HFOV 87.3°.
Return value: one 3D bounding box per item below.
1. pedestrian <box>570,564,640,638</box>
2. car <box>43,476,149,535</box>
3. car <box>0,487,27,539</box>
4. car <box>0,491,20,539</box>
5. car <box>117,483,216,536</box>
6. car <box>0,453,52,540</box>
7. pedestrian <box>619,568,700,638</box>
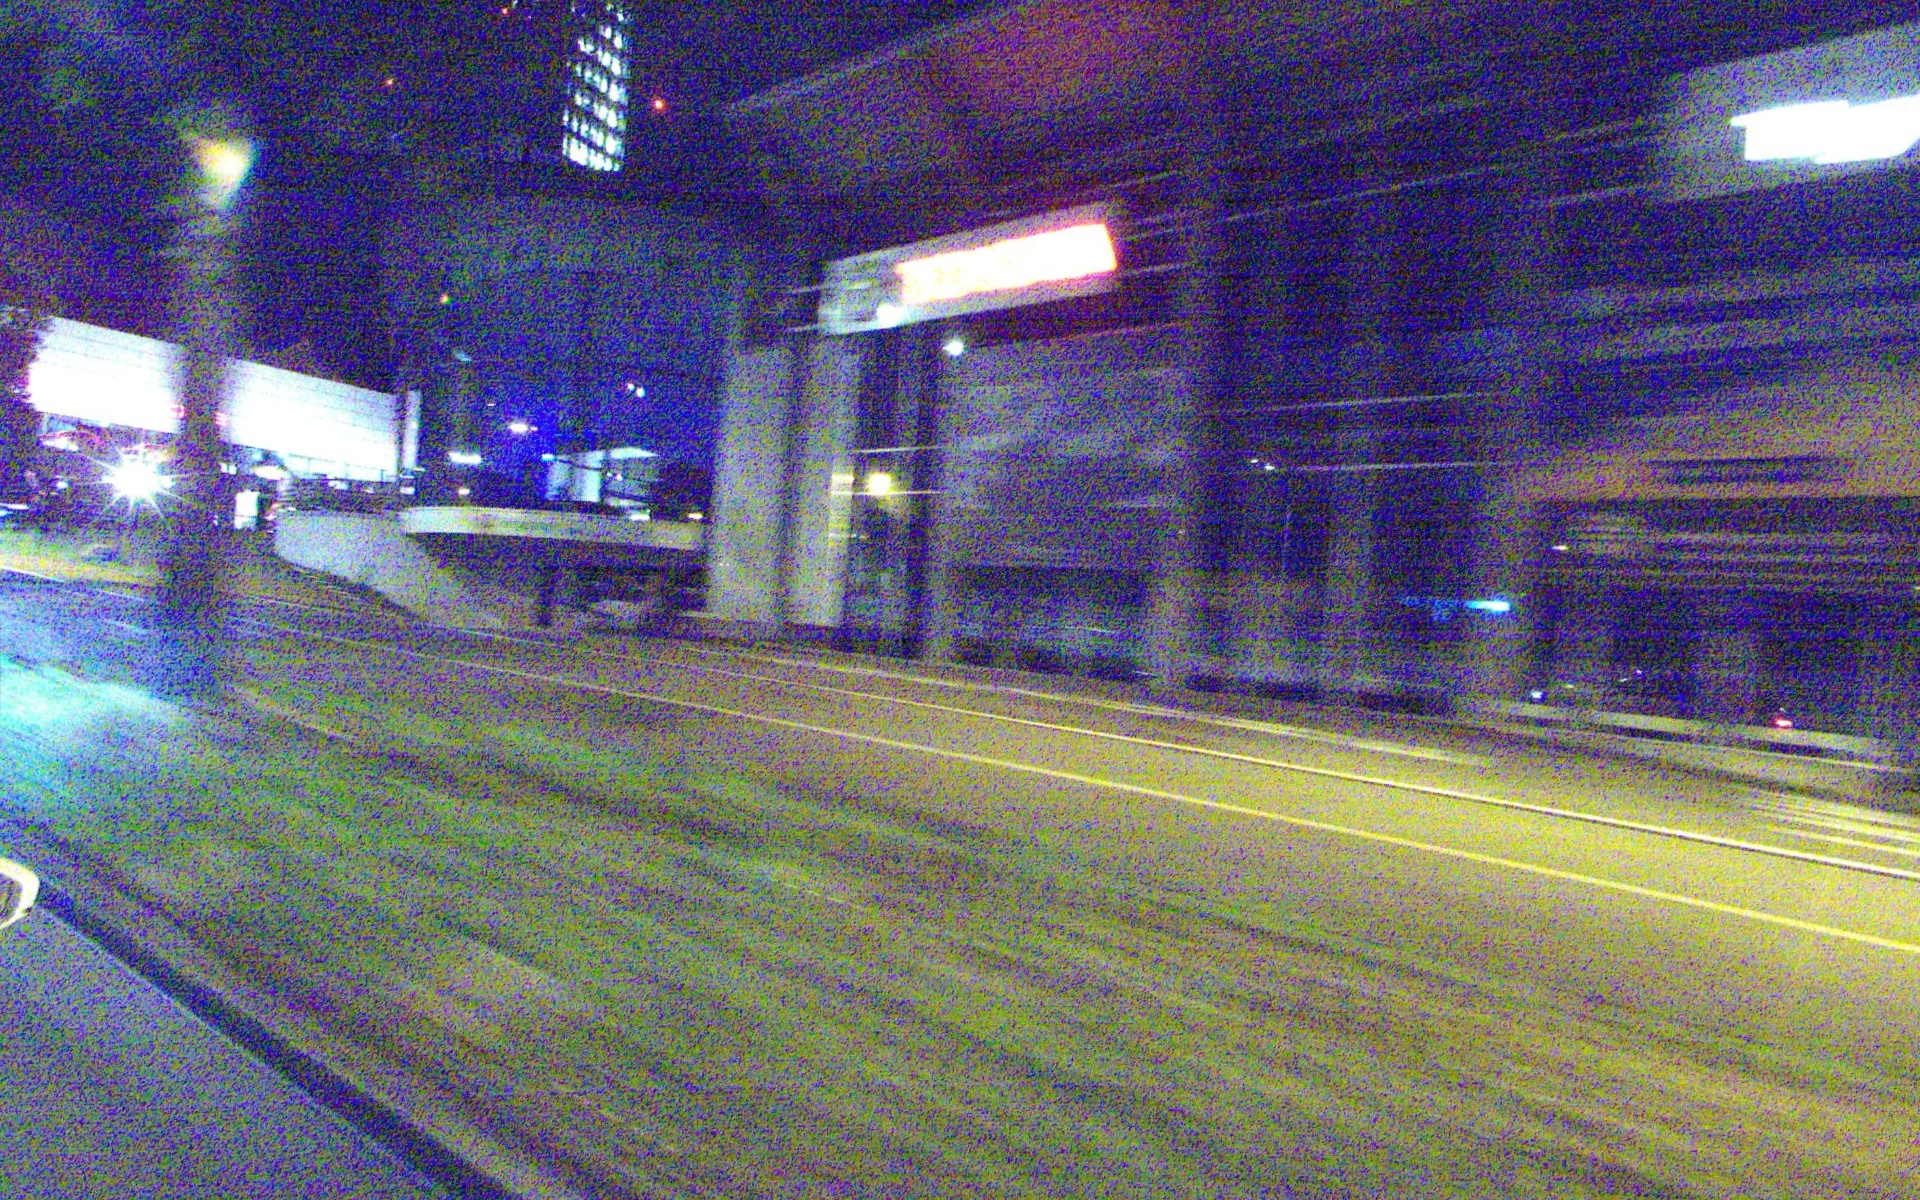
[{"bbox_3d":[-5.556,0.018,15.785,0.899,1.051,0.769,5,0,-15],"label":"pedestrian"},{"bbox_3d":[-28.259,-3.073,32.891,3.584,1.529,1.892,4,-3,39],"label":"car"},{"bbox_3d":[-29.719,-2.780,29.069,1.678,1.468,3.634,5,-3,28],"label":"car"},{"bbox_3d":[-31.416,-2.876,30.501,1.682,1.427,3.834,5,-3,29],"label":"car"},{"bbox_3d":[-28.185,-3.191,35.705,3.584,1.529,1.892,4,-3,39],"label":"car"},{"bbox_3d":[-24.843,-2.676,25.841,1.986,1.967,3.956,8,-3,-41],"label":"car"},{"bbox_3d":[-4.938,0.068,16.573,0.757,1.019,1.002,6,-2,16],"label":"pedestrian"}]
